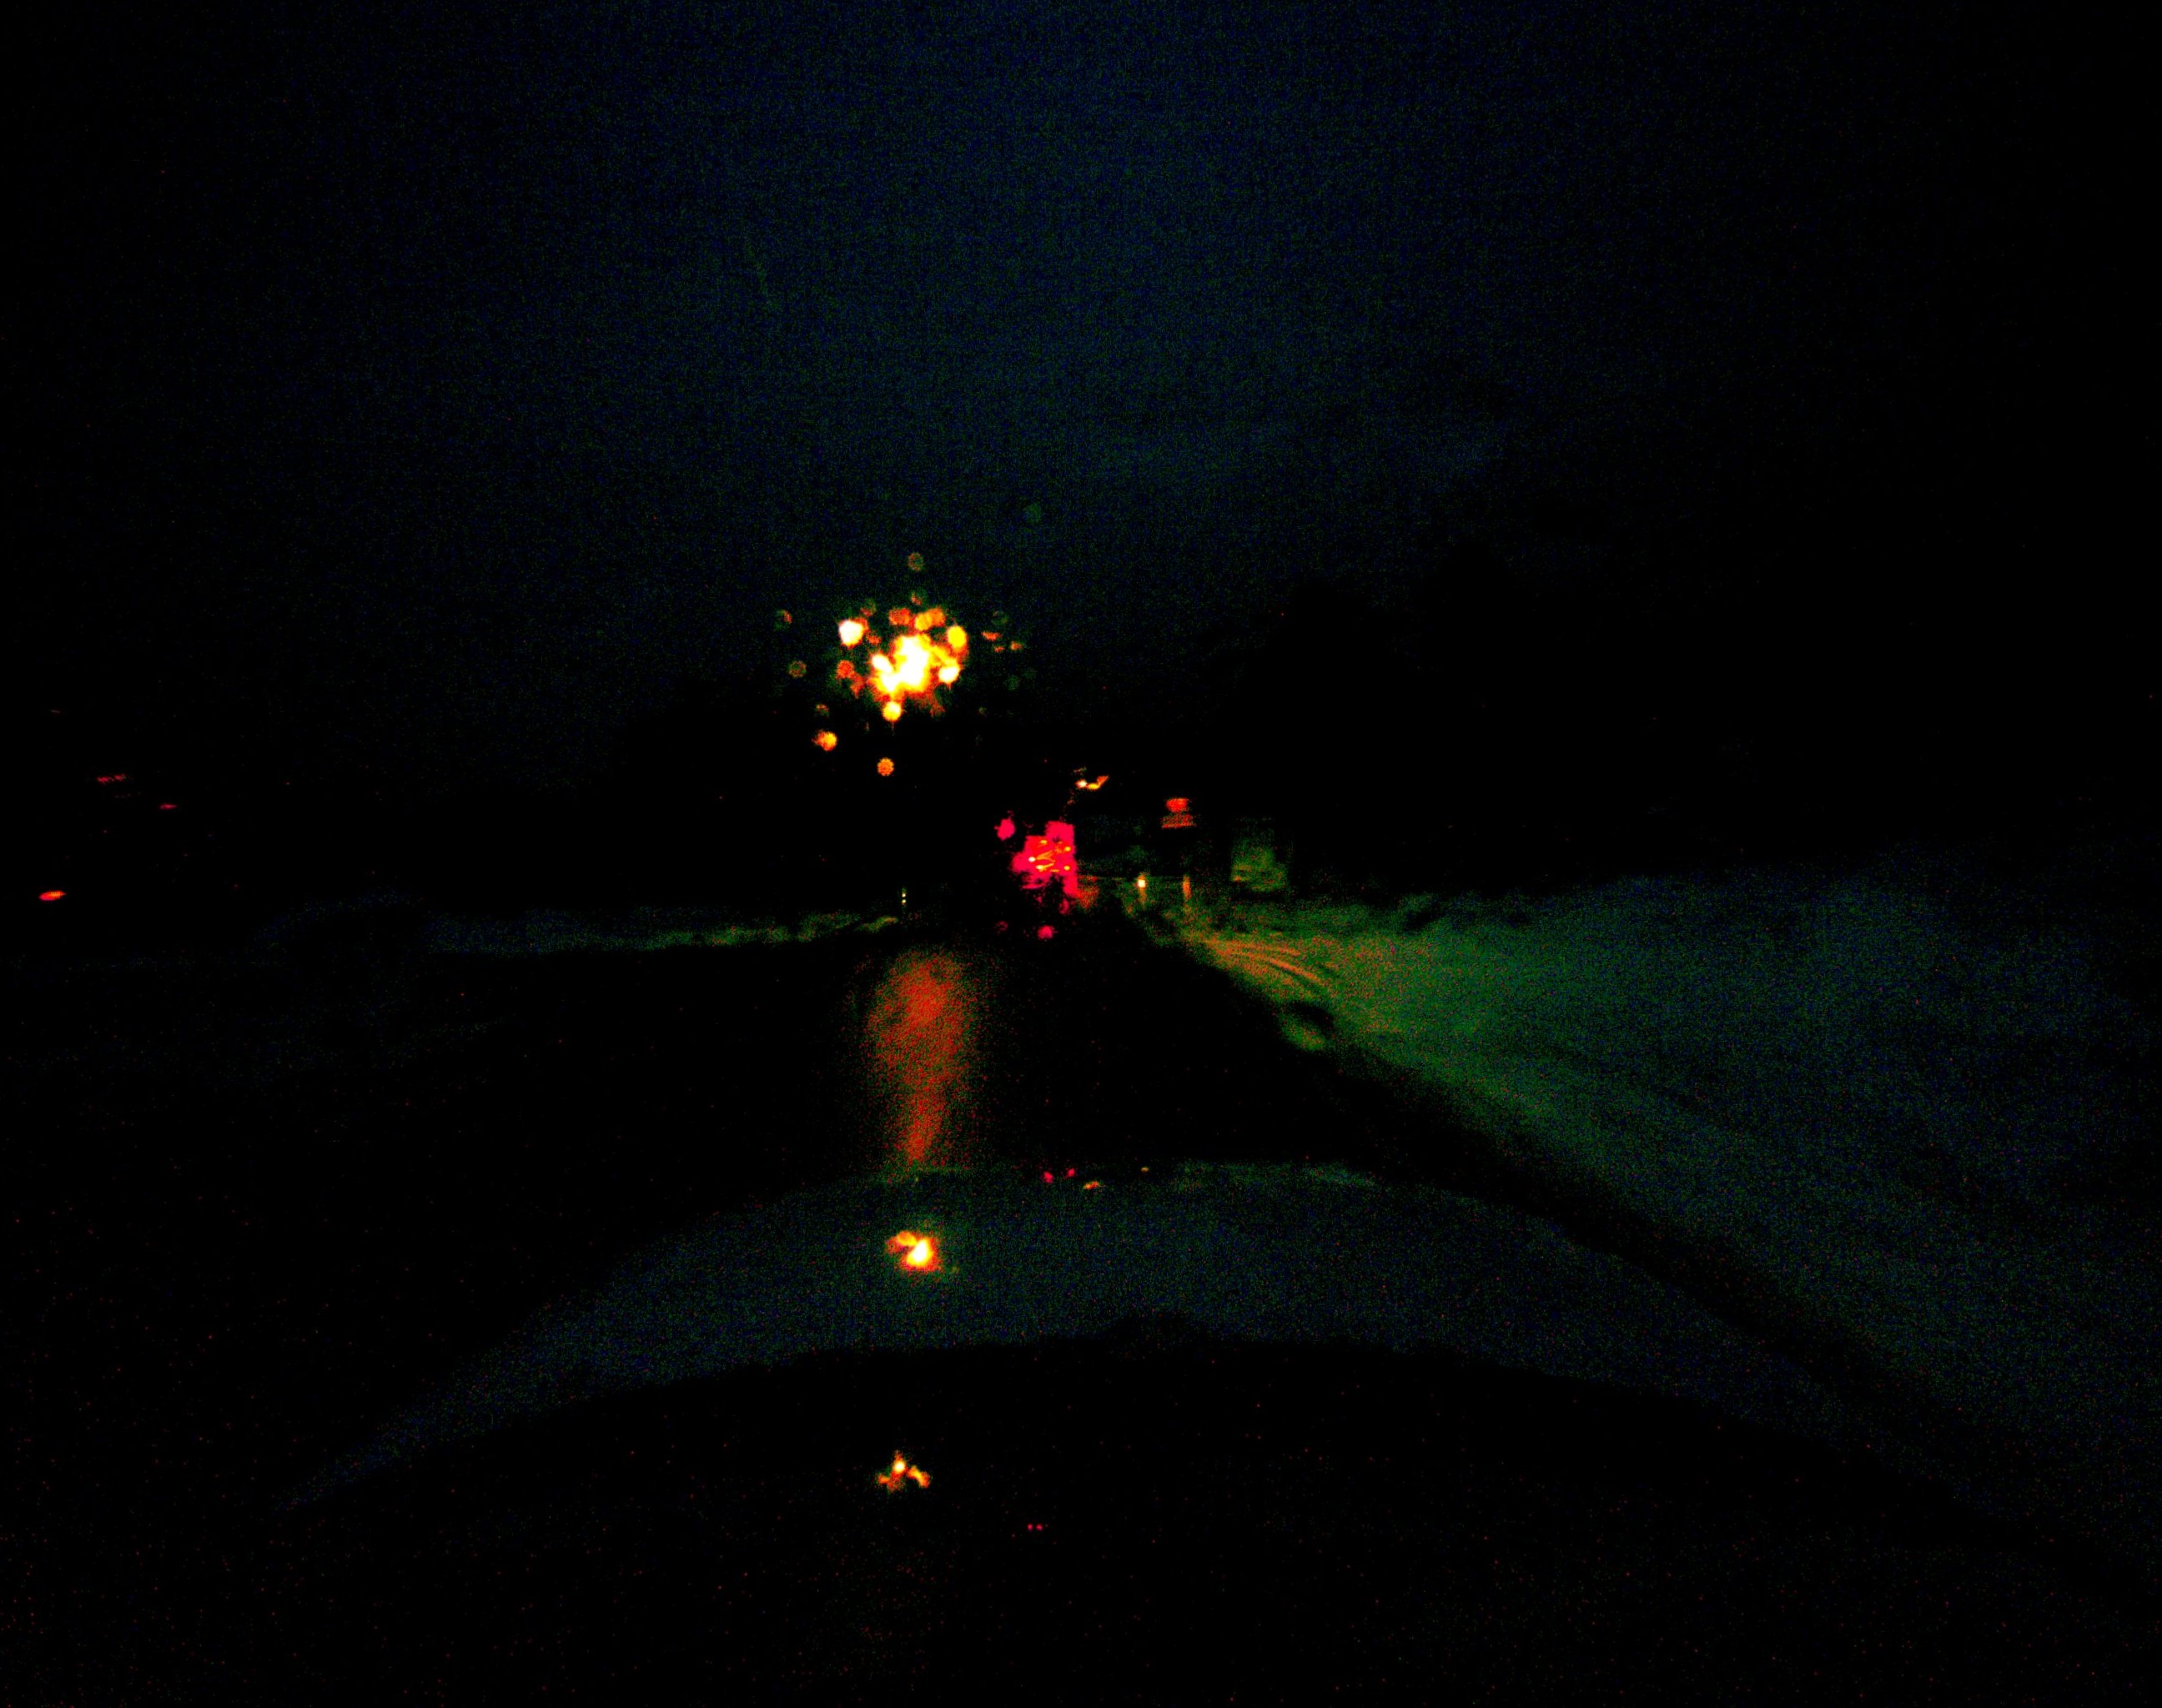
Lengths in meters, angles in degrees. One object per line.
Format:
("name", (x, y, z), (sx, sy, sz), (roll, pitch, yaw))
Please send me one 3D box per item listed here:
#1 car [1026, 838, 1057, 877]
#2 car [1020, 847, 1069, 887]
("car", (-3.292, 0.359, 69.091), (2.429, 3.019, 5.320), (-2, -1, -2))
("car", (-1.852, 0.632, 41.527), (2.268, 1.840, 5.002), (-2, 0, -2))
